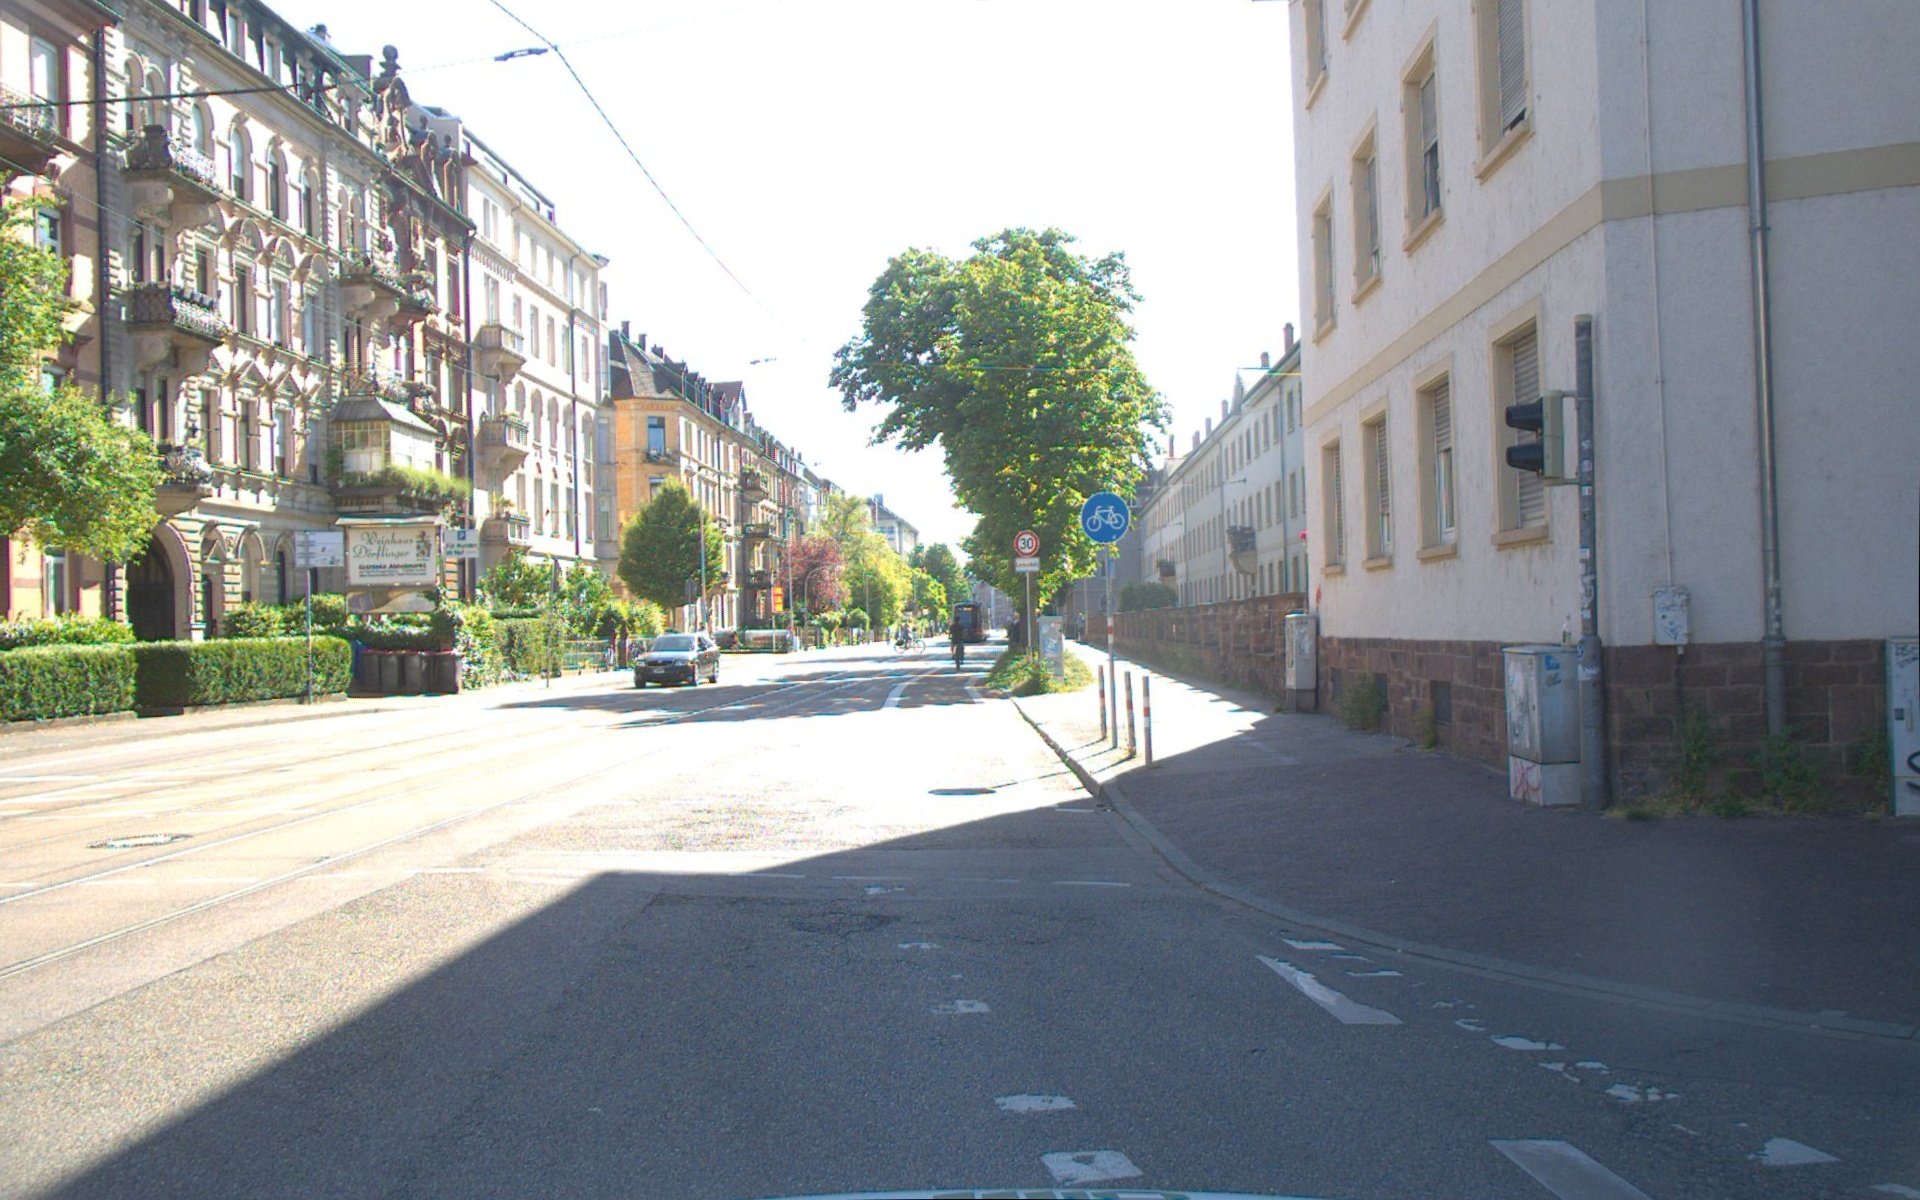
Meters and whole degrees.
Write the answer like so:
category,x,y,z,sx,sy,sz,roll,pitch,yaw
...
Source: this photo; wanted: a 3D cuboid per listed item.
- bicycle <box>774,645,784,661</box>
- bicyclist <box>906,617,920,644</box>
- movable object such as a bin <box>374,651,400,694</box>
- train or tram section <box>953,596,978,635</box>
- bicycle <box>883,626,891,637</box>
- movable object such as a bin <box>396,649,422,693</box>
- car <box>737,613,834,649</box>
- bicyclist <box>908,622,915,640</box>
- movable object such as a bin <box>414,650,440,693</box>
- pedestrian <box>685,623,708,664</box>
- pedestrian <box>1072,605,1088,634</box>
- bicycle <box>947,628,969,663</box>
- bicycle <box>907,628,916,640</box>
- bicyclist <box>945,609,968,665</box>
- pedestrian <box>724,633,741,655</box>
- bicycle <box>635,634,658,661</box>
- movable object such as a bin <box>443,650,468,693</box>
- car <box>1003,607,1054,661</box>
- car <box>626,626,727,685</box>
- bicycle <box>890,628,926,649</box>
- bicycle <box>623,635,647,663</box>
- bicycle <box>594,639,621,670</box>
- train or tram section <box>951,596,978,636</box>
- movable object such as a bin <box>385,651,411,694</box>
category,x,y,z,sx,sy,sz,roll,pitch,yaw
bicycle,-11.716,3.412,107.110,0.328,1.018,1.870,-1,-1,2
bicyclist,-2.606,1.681,92.053,0.604,1.494,0.634,0,-1,-19
movable object such as a bin,-14.846,1.878,42.853,0.469,1.105,0.541,-1,-1,4
train or tram section,0.565,1.452,153.377,2.109,3.492,6.612,-1,-1,2
bicycle,-6.344,2.731,144.288,0.450,0.942,2.203,-3,-1,2
movable object such as a bin,-14.283,1.839,42.855,0.469,1.105,0.541,-1,-1,4
car,-8.431,1.496,79.988,4.352,1.672,1.967,-1,-1,5
bicyclist,-5.068,3.195,172.820,0.646,1.833,0.616,-4,-2,2
movable object such as a bin,-14.033,1.871,43.569,0.469,1.105,0.541,-1,-1,4
pedestrian,-11.465,1.879,72.026,0.812,1.754,1.082,0,-2,-1
pedestrian,7.297,1.178,100.764,0.749,1.755,0.578,-1,-1,31
bicycle,-0.064,1.527,55.868,0.677,1.132,1.719,-1,-1,2
bicycle,-5.066,3.559,172.742,0.677,1.132,1.719,-3,-1,2
bicyclist,-0.113,1.236,55.999,0.712,1.881,0.837,-1,-1,1
pedestrian,-14.733,2.824,107.018,0.882,1.376,0.577,-4,-1,3
bicycle,-12.721,1.907,67.116,0.551,1.051,1.768,0,0,1
movable object such as a bin,-13.348,1.881,43.762,0.469,1.105,0.541,-1,-1,4
car,2.372,1.176,58.239,1.707,1.797,4.478,-1,-1,1
car,-8.007,1.531,47.173,1.794,1.545,4.968,0,0,3
bicycle,-2.871,2.111,91.907,1.882,1.132,0.690,0,-1,-20
bicycle,-12.742,1.914,64.945,0.551,1.051,1.768,0,0,1
bicycle,-12.973,1.994,60.899,0.551,1.051,1.768,0,0,3
train or tram section,0.441,1.405,146.735,2.109,3.492,6.612,-1,-1,2
movable object such as a bin,-14.762,1.891,43.449,0.469,1.105,0.541,-1,-1,4
